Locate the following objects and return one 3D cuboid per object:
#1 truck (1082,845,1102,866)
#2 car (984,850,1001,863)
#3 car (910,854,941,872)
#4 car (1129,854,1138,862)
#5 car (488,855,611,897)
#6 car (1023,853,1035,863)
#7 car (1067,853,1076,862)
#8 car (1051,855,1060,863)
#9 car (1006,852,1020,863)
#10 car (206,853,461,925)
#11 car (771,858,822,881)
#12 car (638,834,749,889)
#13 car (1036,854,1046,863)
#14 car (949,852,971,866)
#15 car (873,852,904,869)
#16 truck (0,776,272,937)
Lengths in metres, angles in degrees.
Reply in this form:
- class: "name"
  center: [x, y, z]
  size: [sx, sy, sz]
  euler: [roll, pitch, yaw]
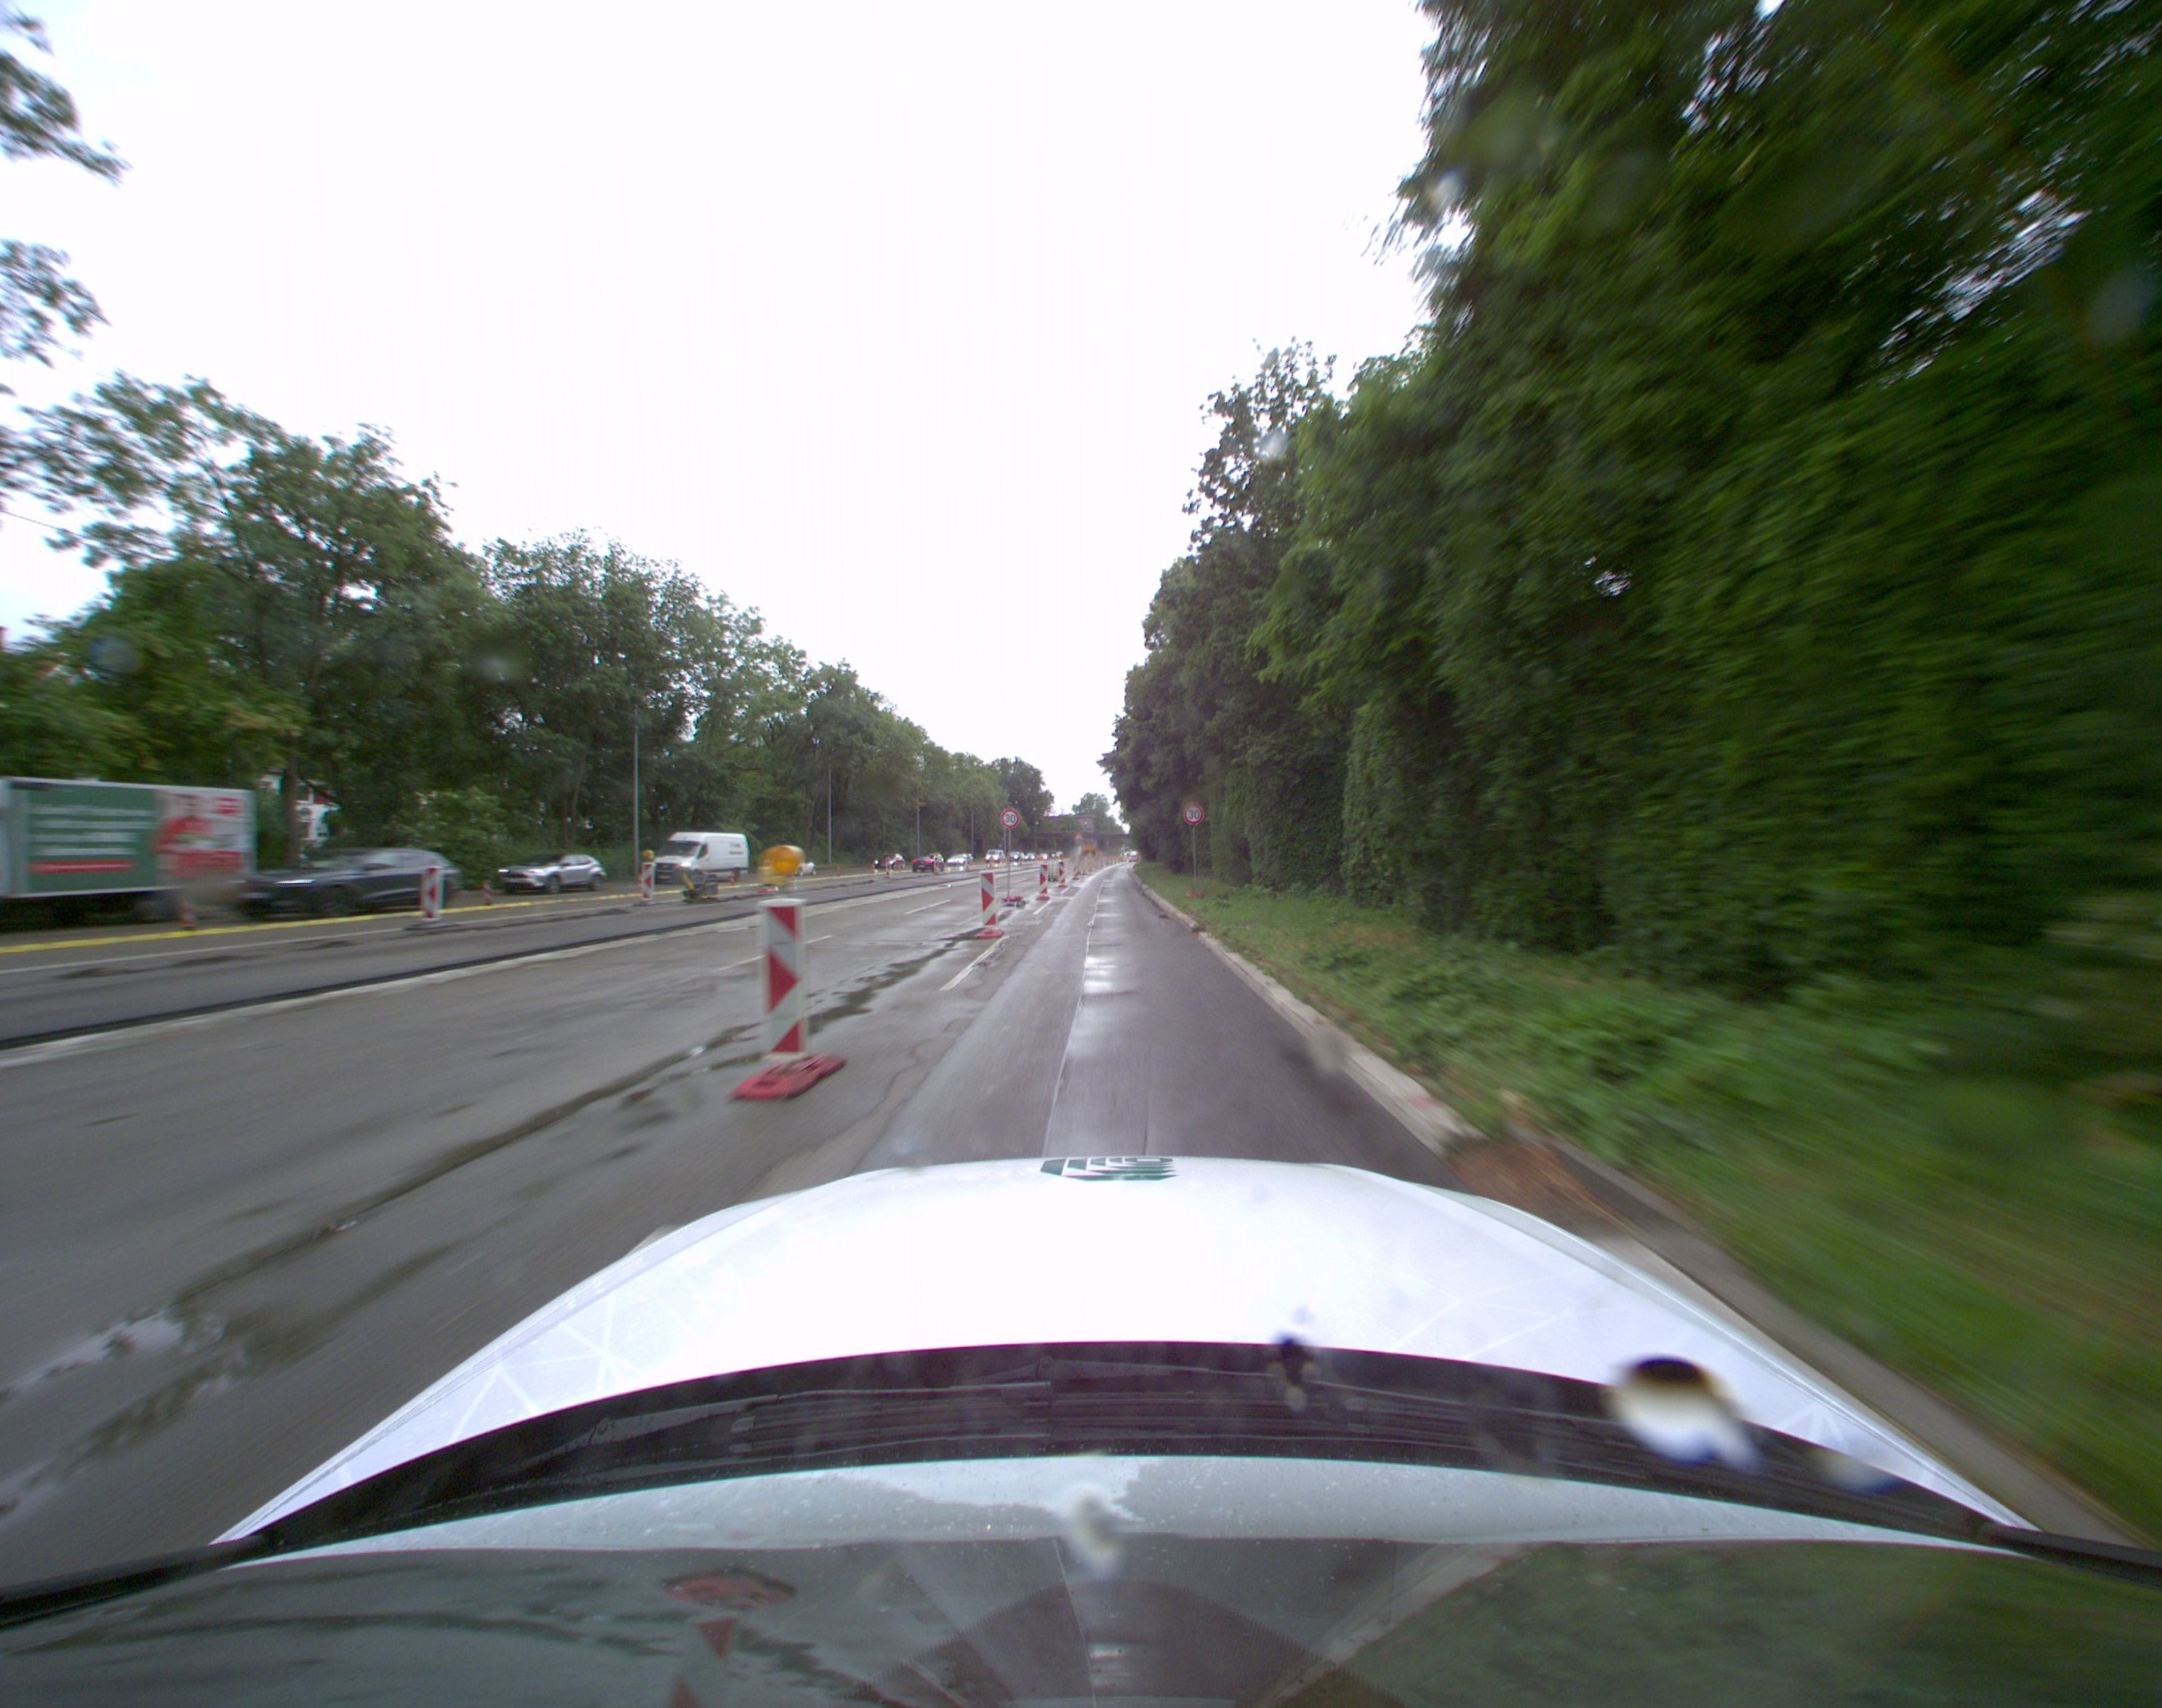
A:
- class: "truck"
  center: [2.079, 0.251, 145.823]
  size: [3.247, 3.497, 13.875]
  euler: [-1, 0, 2]
- class: "car"
  center: [-12.520, 0.326, 115.468]
  size: [1.663, 1.809, 4.323]
  euler: [-1, 0, 3]
- class: "car"
  center: [-12.666, 0.713, 66.607]
  size: [1.601, 1.404, 4.044]
  euler: [-1, 0, 3]
- class: "car"
  center: [10.166, 0.771, 157.713]
  size: [1.691, 1.336, 3.491]
  euler: [-3, 0, 1]
- class: "car"
  center: [-19.956, 0.778, 30.815]
  size: [1.663, 1.486, 4.323]
  euler: [-1, 0, 3]
- class: "car"
  center: [-9.618, 0.755, 150.417]
  size: [1.663, 1.809, 4.323]
  euler: [-1, 0, 3]
- class: "car"
  center: [-1.981, 0.753, 167.935]
  size: [1.663, 1.808, 4.324]
  euler: [-1, 1, 3]
- class: "car"
  center: [-5.712, 1.135, 182.440]
  size: [1.663, 1.809, 4.323]
  euler: [-1, 0, 3]
- class: "car"
  center: [-11.074, 0.527, 132.342]
  size: [1.663, 1.809, 4.323]
  euler: [-1, 0, 3]
- class: "car"
  center: [-17.798, 0.752, 19.773]
  size: [1.952, 1.531, 4.439]
  euler: [-1, 0, 3]
- class: "car"
  center: [-19.043, 1.022, 54.671]
  size: [1.663, 1.486, 4.323]
  euler: [-1, 0, 3]
- class: "car"
  center: [-19.629, 0.362, 41.709]
  size: [2.091, 2.580, 6.858]
  euler: [-1, 0, 3]
- class: "car"
  center: [-8.118, 0.873, 165.886]
  size: [1.663, 1.809, 4.323]
  euler: [-1, 0, 3]
- class: "car"
  center: [-13.910, 0.570, 93.928]
  size: [1.663, 1.486, 4.323]
  euler: [-1, 0, 3]
- class: "car"
  center: [-18.178, 0.617, 77.183]
  size: [1.663, 1.486, 4.323]
  euler: [-1, 0, 3]
- class: "truck"
  center: [-20.742, 0.060, 16.140]
  size: [2.237, 2.940, 6.940]
  euler: [-1, 0, 3]
